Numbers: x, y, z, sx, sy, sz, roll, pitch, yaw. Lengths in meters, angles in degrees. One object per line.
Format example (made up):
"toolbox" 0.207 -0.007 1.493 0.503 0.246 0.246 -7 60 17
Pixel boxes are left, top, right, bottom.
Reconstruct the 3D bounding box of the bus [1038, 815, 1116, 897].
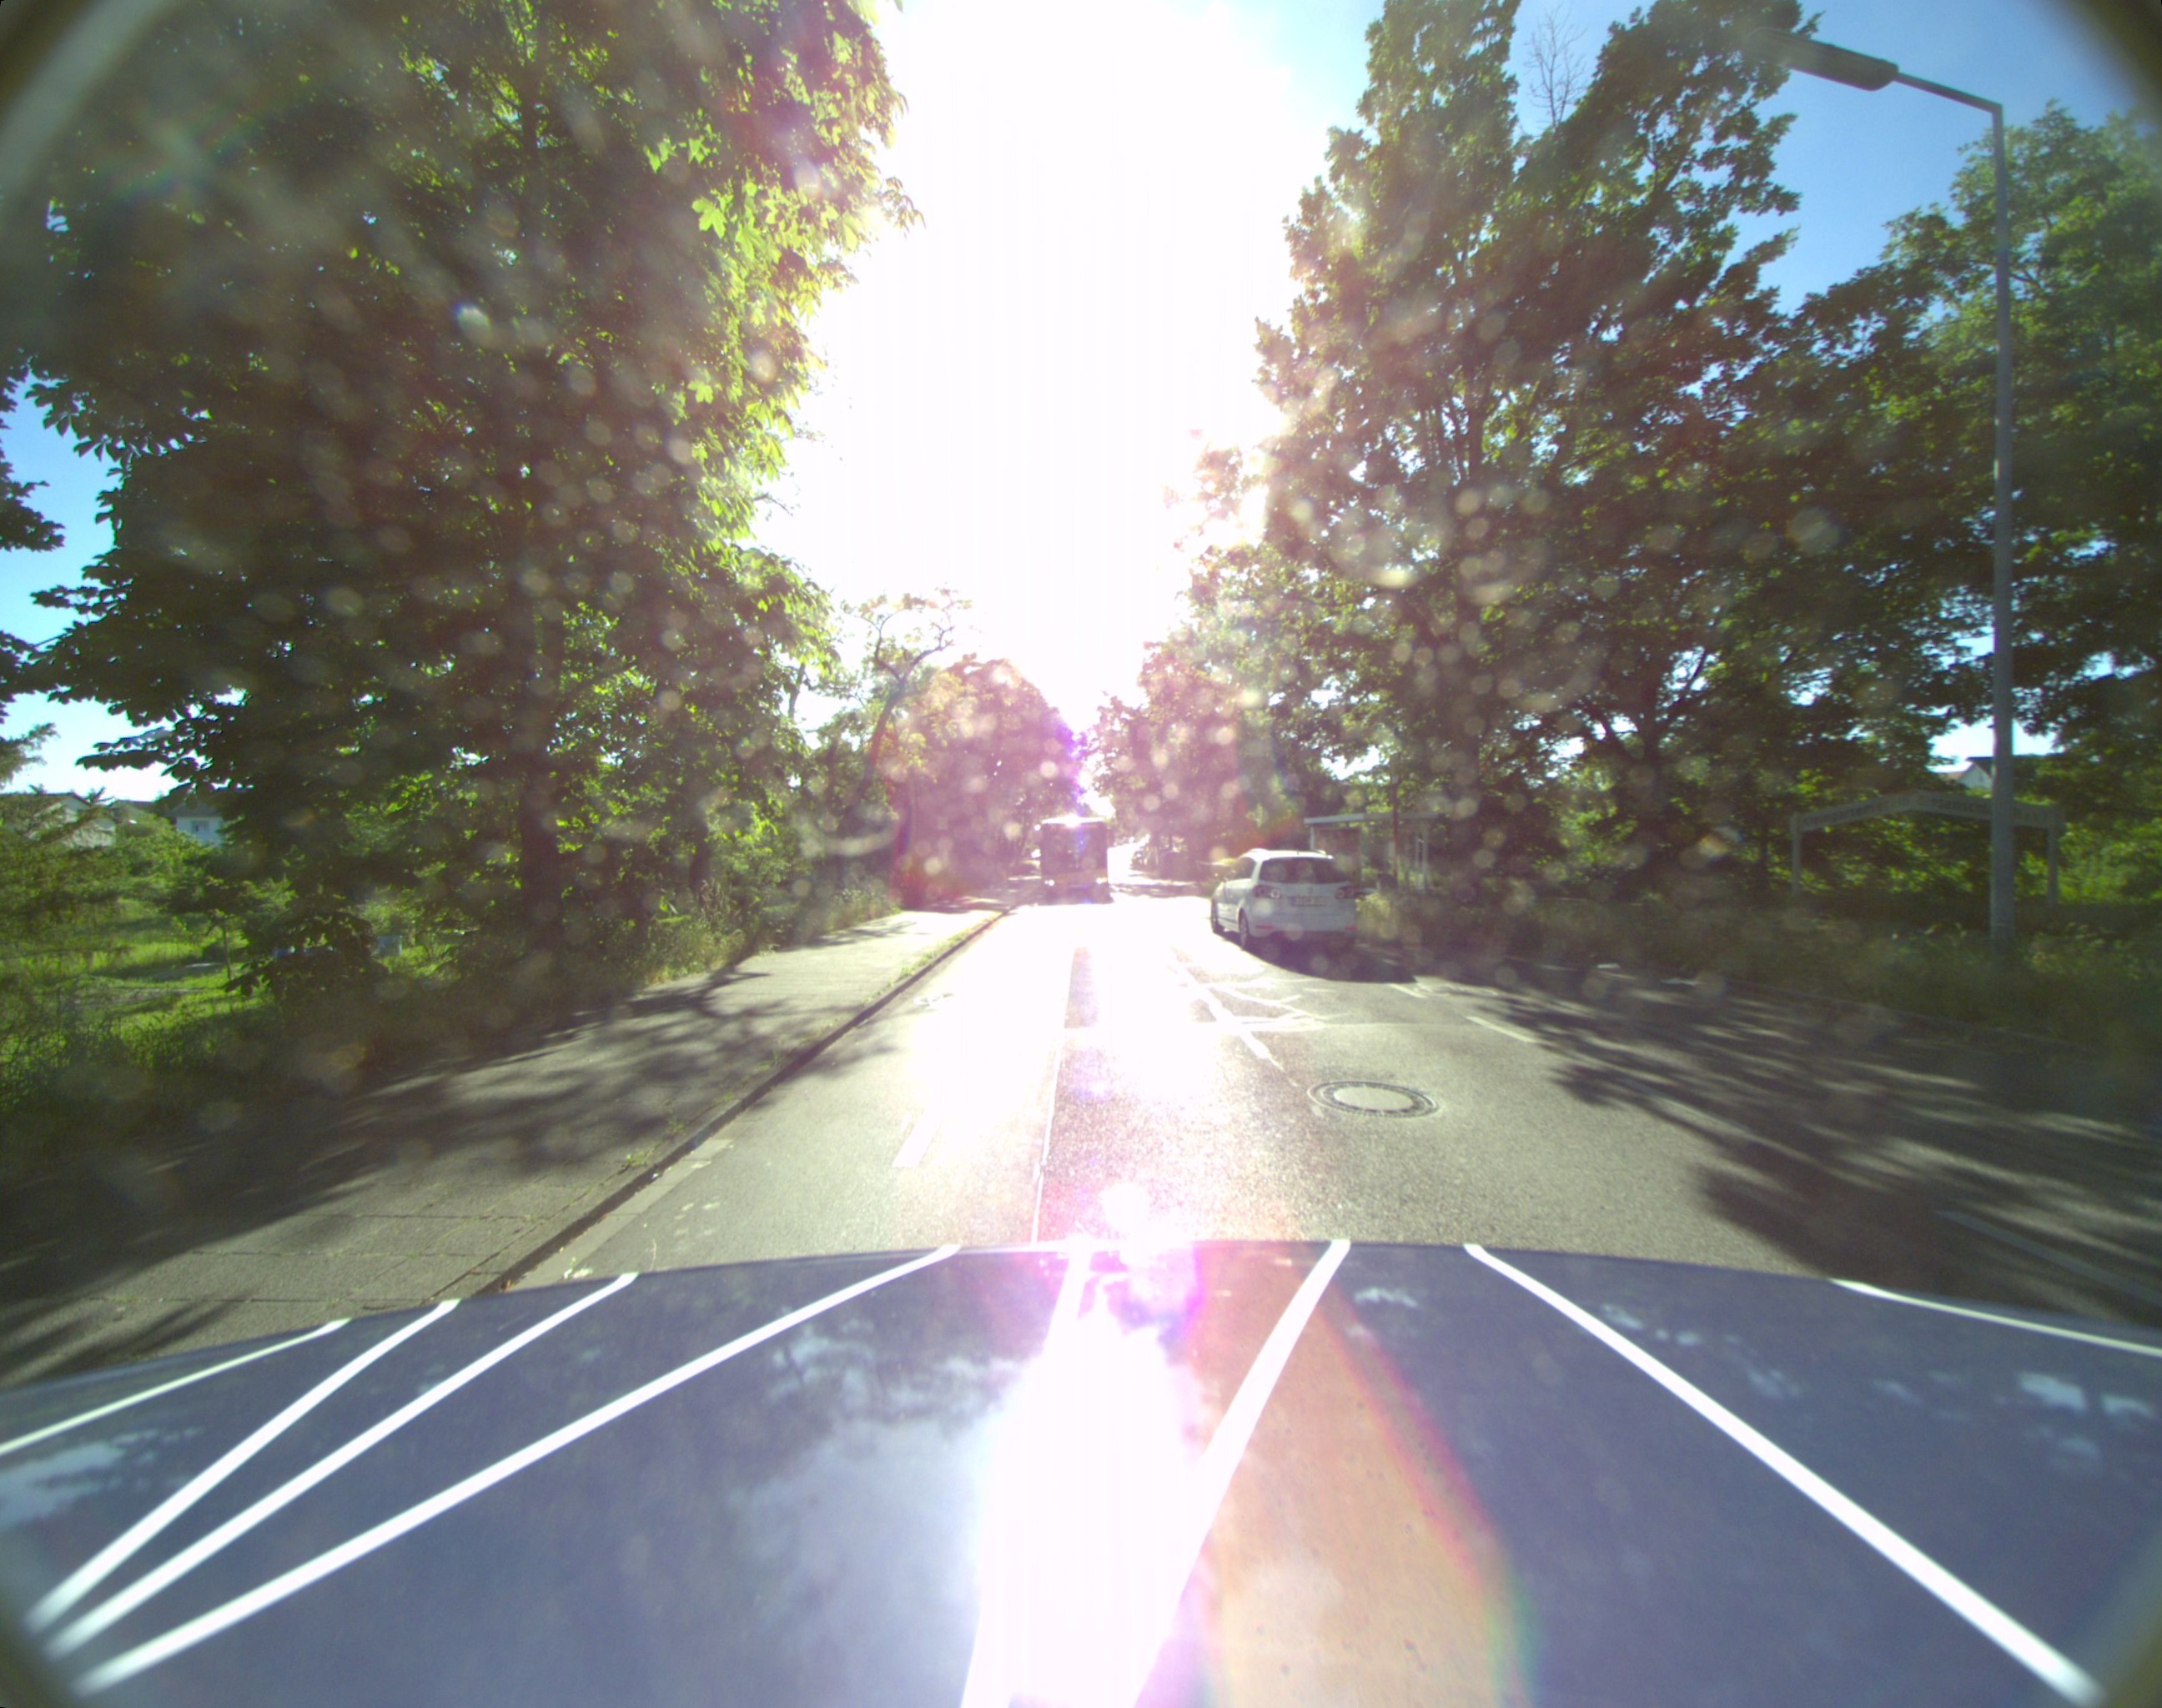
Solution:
"bus" -0.218 0.068 34.757 2.790 2.965 12.893 -2 0 -1

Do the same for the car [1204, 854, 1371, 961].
"car" 3.372 0.788 13.238 1.756 1.554 4.120 1 0 0
